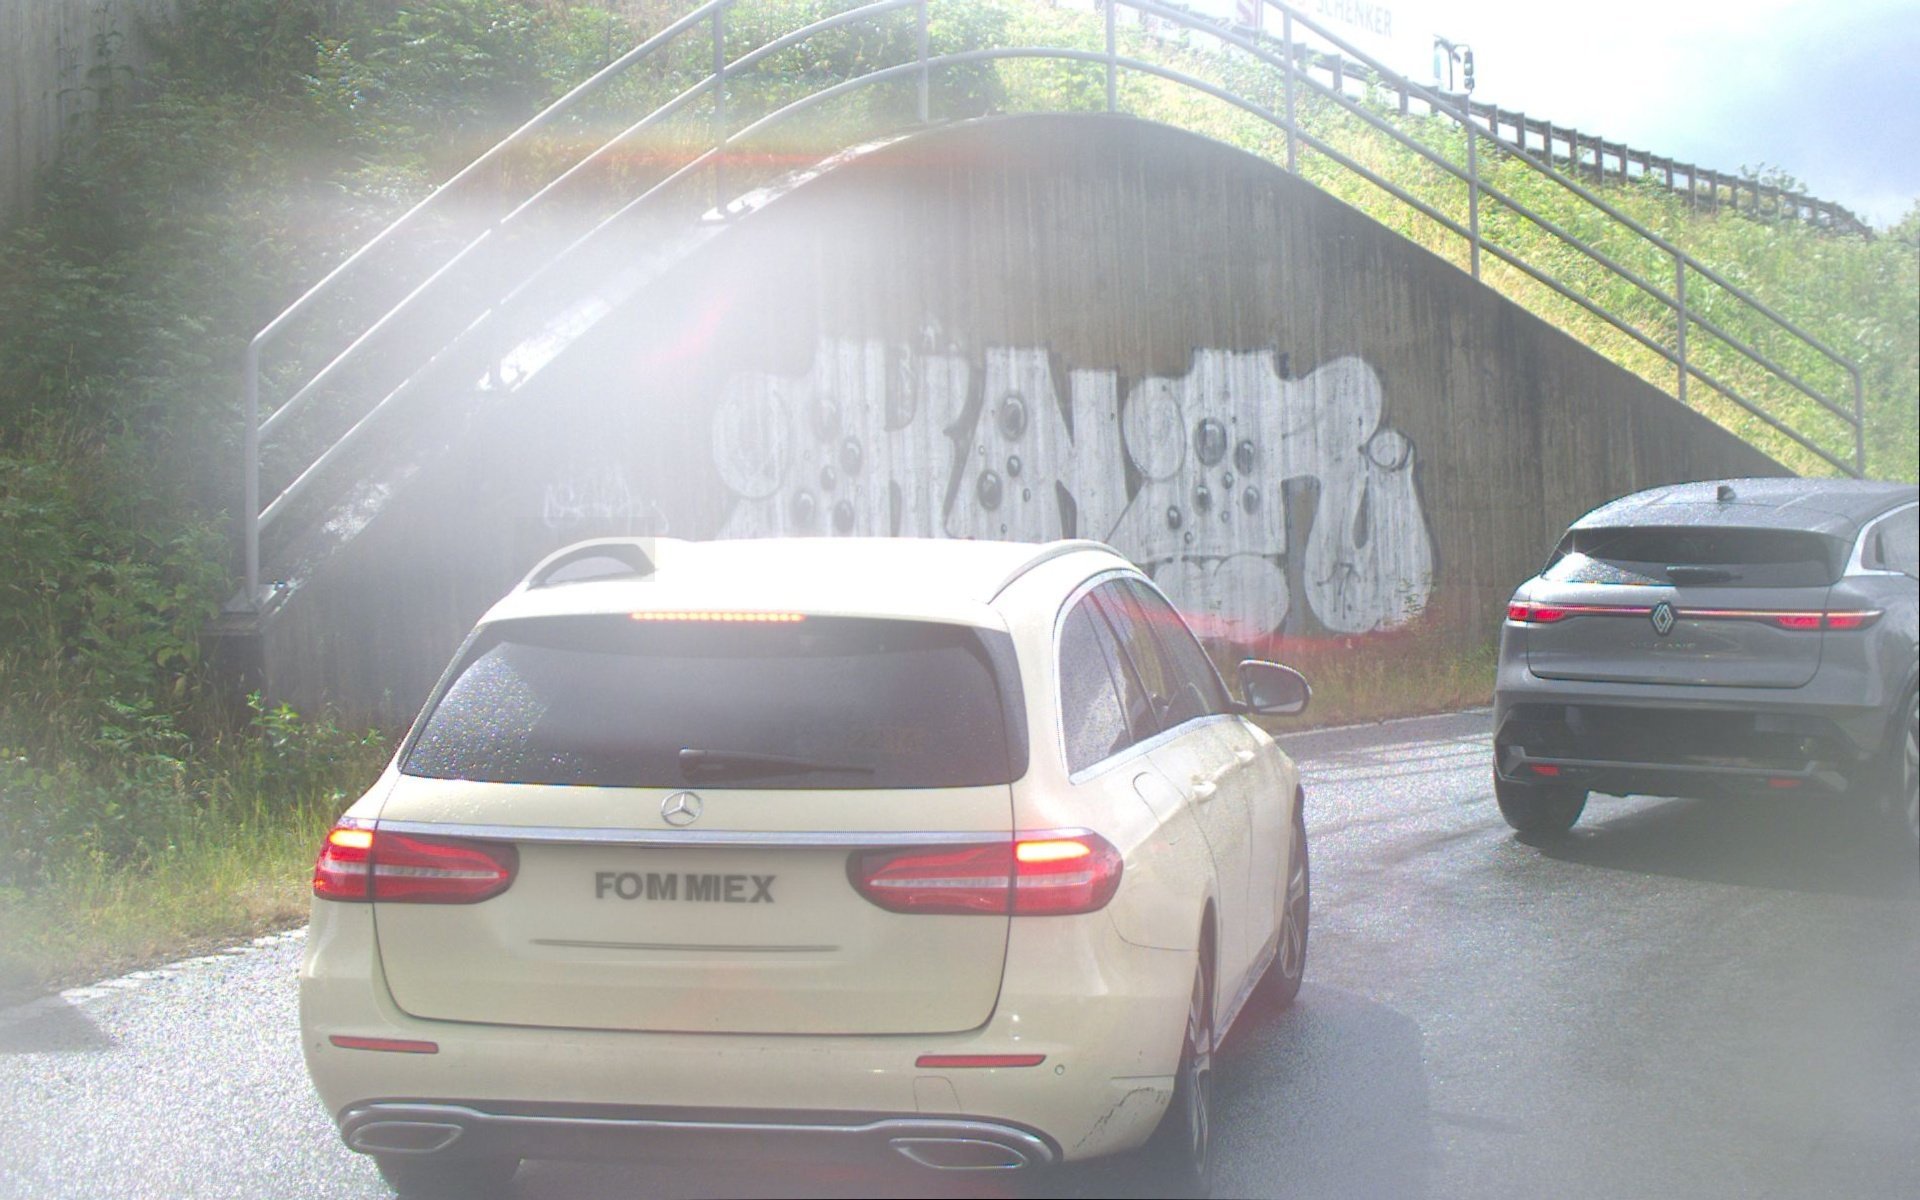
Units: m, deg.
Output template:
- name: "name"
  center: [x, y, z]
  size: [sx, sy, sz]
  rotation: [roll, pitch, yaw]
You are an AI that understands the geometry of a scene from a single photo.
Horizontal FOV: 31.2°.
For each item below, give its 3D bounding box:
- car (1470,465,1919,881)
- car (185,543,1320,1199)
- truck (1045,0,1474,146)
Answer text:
- name: "car"
  center: [3.805, 0.193, 15.142]
  size: [1.721, 1.519, 3.994]
  rotation: [1, 3, 30]
- name: "car"
  center: [-0.176, 0.621, 8.713]
  size: [1.917, 1.502, 4.594]
  rotation: [0, 1, 9]
- name: "truck"
  center: [4.745, -9.388, 51.927]
  size: [3.185, 3.952, 9.223]
  rotation: [1, 1, 27]
